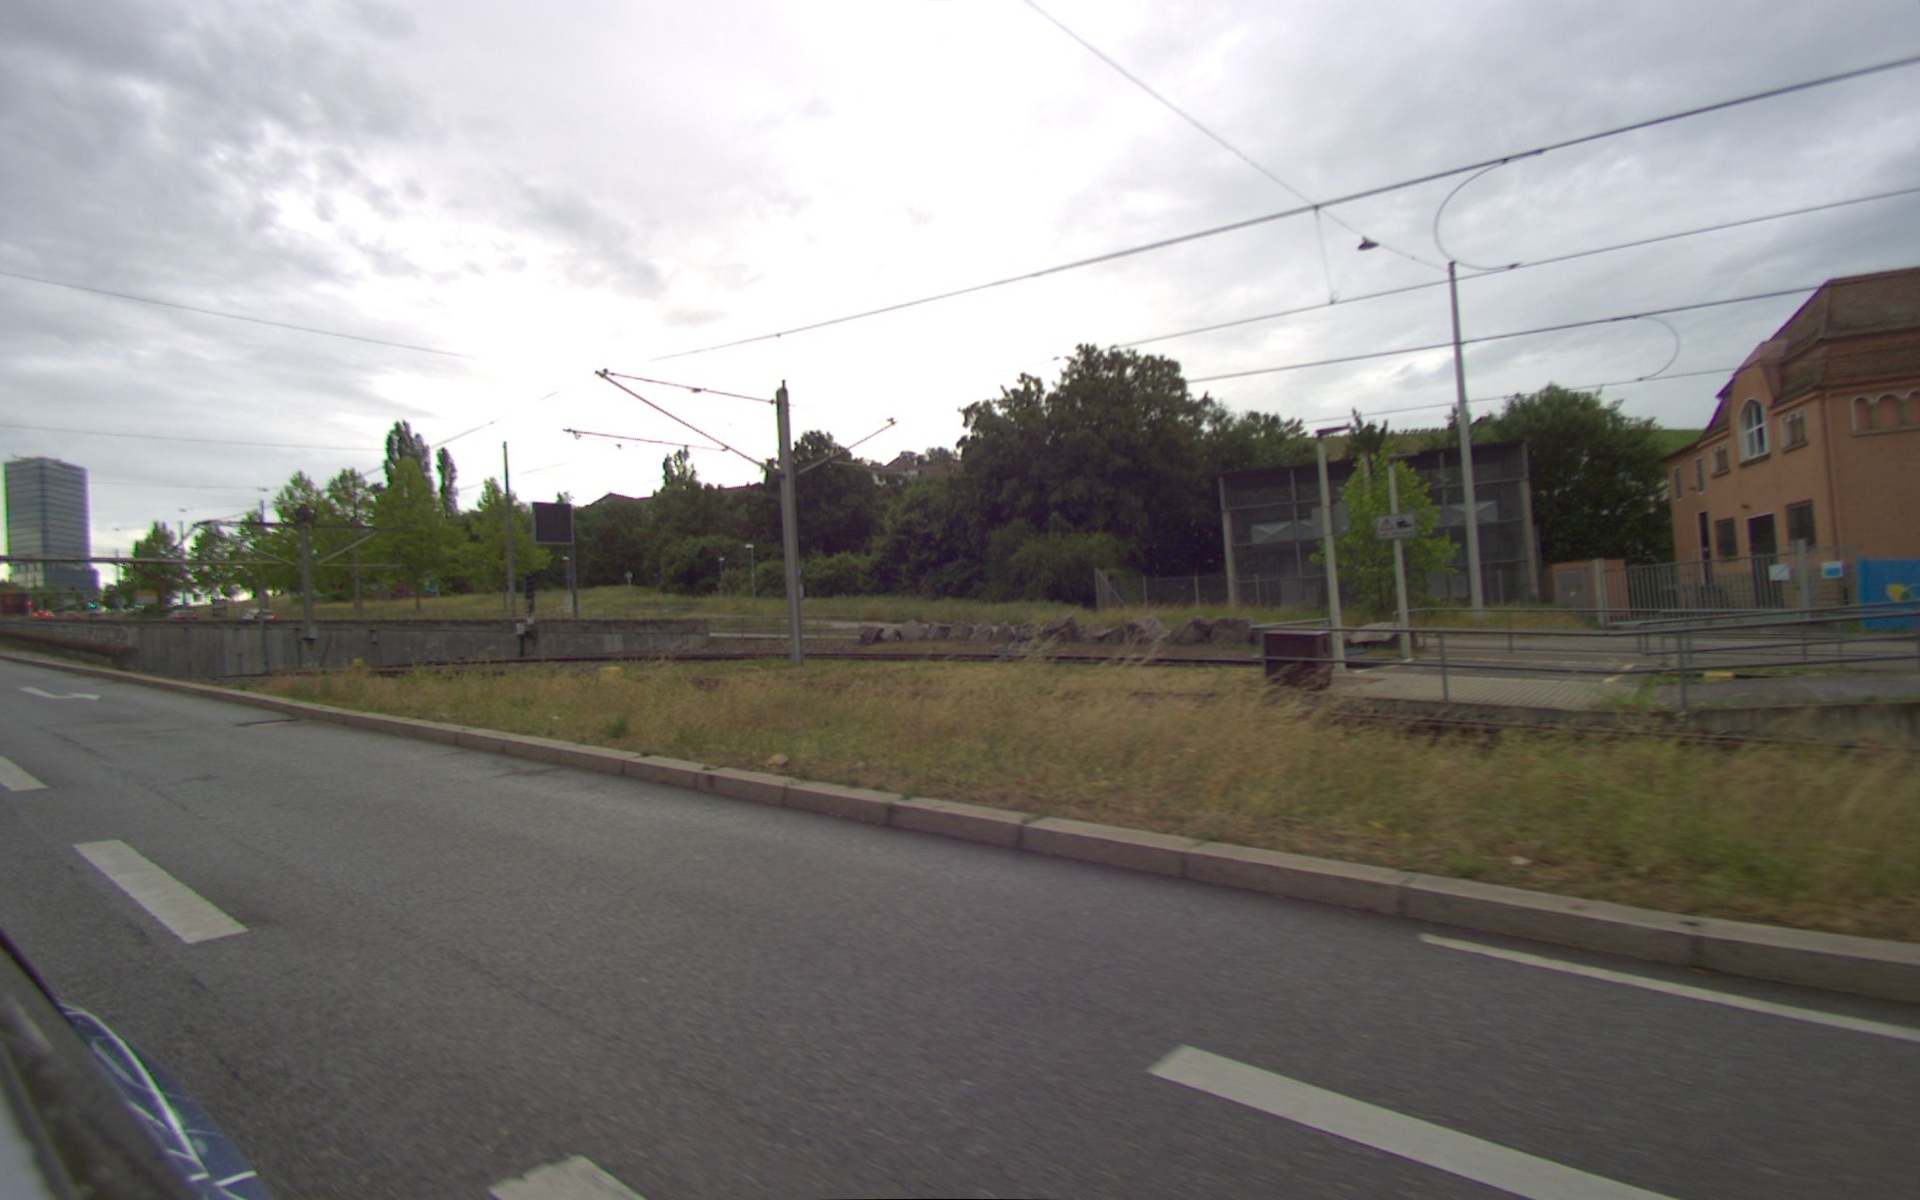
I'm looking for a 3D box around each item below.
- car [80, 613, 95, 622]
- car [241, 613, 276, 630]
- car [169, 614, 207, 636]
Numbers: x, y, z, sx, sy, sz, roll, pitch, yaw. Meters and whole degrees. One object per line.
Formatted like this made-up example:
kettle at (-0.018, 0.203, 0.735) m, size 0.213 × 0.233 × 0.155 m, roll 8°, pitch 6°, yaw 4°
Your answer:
car at (-170.033, 3.400, 197.236) m, size 4.433 × 1.539 × 1.639 m, roll -2°, pitch 0°, yaw 42°
car at (-56.378, 1.724, 81.330) m, size 3.557 × 1.301 × 1.539 m, roll -2°, pitch 0°, yaw 42°
car at (-74.976, 2.394, 98.271) m, size 4.030 × 1.985 × 1.873 m, roll -1°, pitch 2°, yaw 38°
